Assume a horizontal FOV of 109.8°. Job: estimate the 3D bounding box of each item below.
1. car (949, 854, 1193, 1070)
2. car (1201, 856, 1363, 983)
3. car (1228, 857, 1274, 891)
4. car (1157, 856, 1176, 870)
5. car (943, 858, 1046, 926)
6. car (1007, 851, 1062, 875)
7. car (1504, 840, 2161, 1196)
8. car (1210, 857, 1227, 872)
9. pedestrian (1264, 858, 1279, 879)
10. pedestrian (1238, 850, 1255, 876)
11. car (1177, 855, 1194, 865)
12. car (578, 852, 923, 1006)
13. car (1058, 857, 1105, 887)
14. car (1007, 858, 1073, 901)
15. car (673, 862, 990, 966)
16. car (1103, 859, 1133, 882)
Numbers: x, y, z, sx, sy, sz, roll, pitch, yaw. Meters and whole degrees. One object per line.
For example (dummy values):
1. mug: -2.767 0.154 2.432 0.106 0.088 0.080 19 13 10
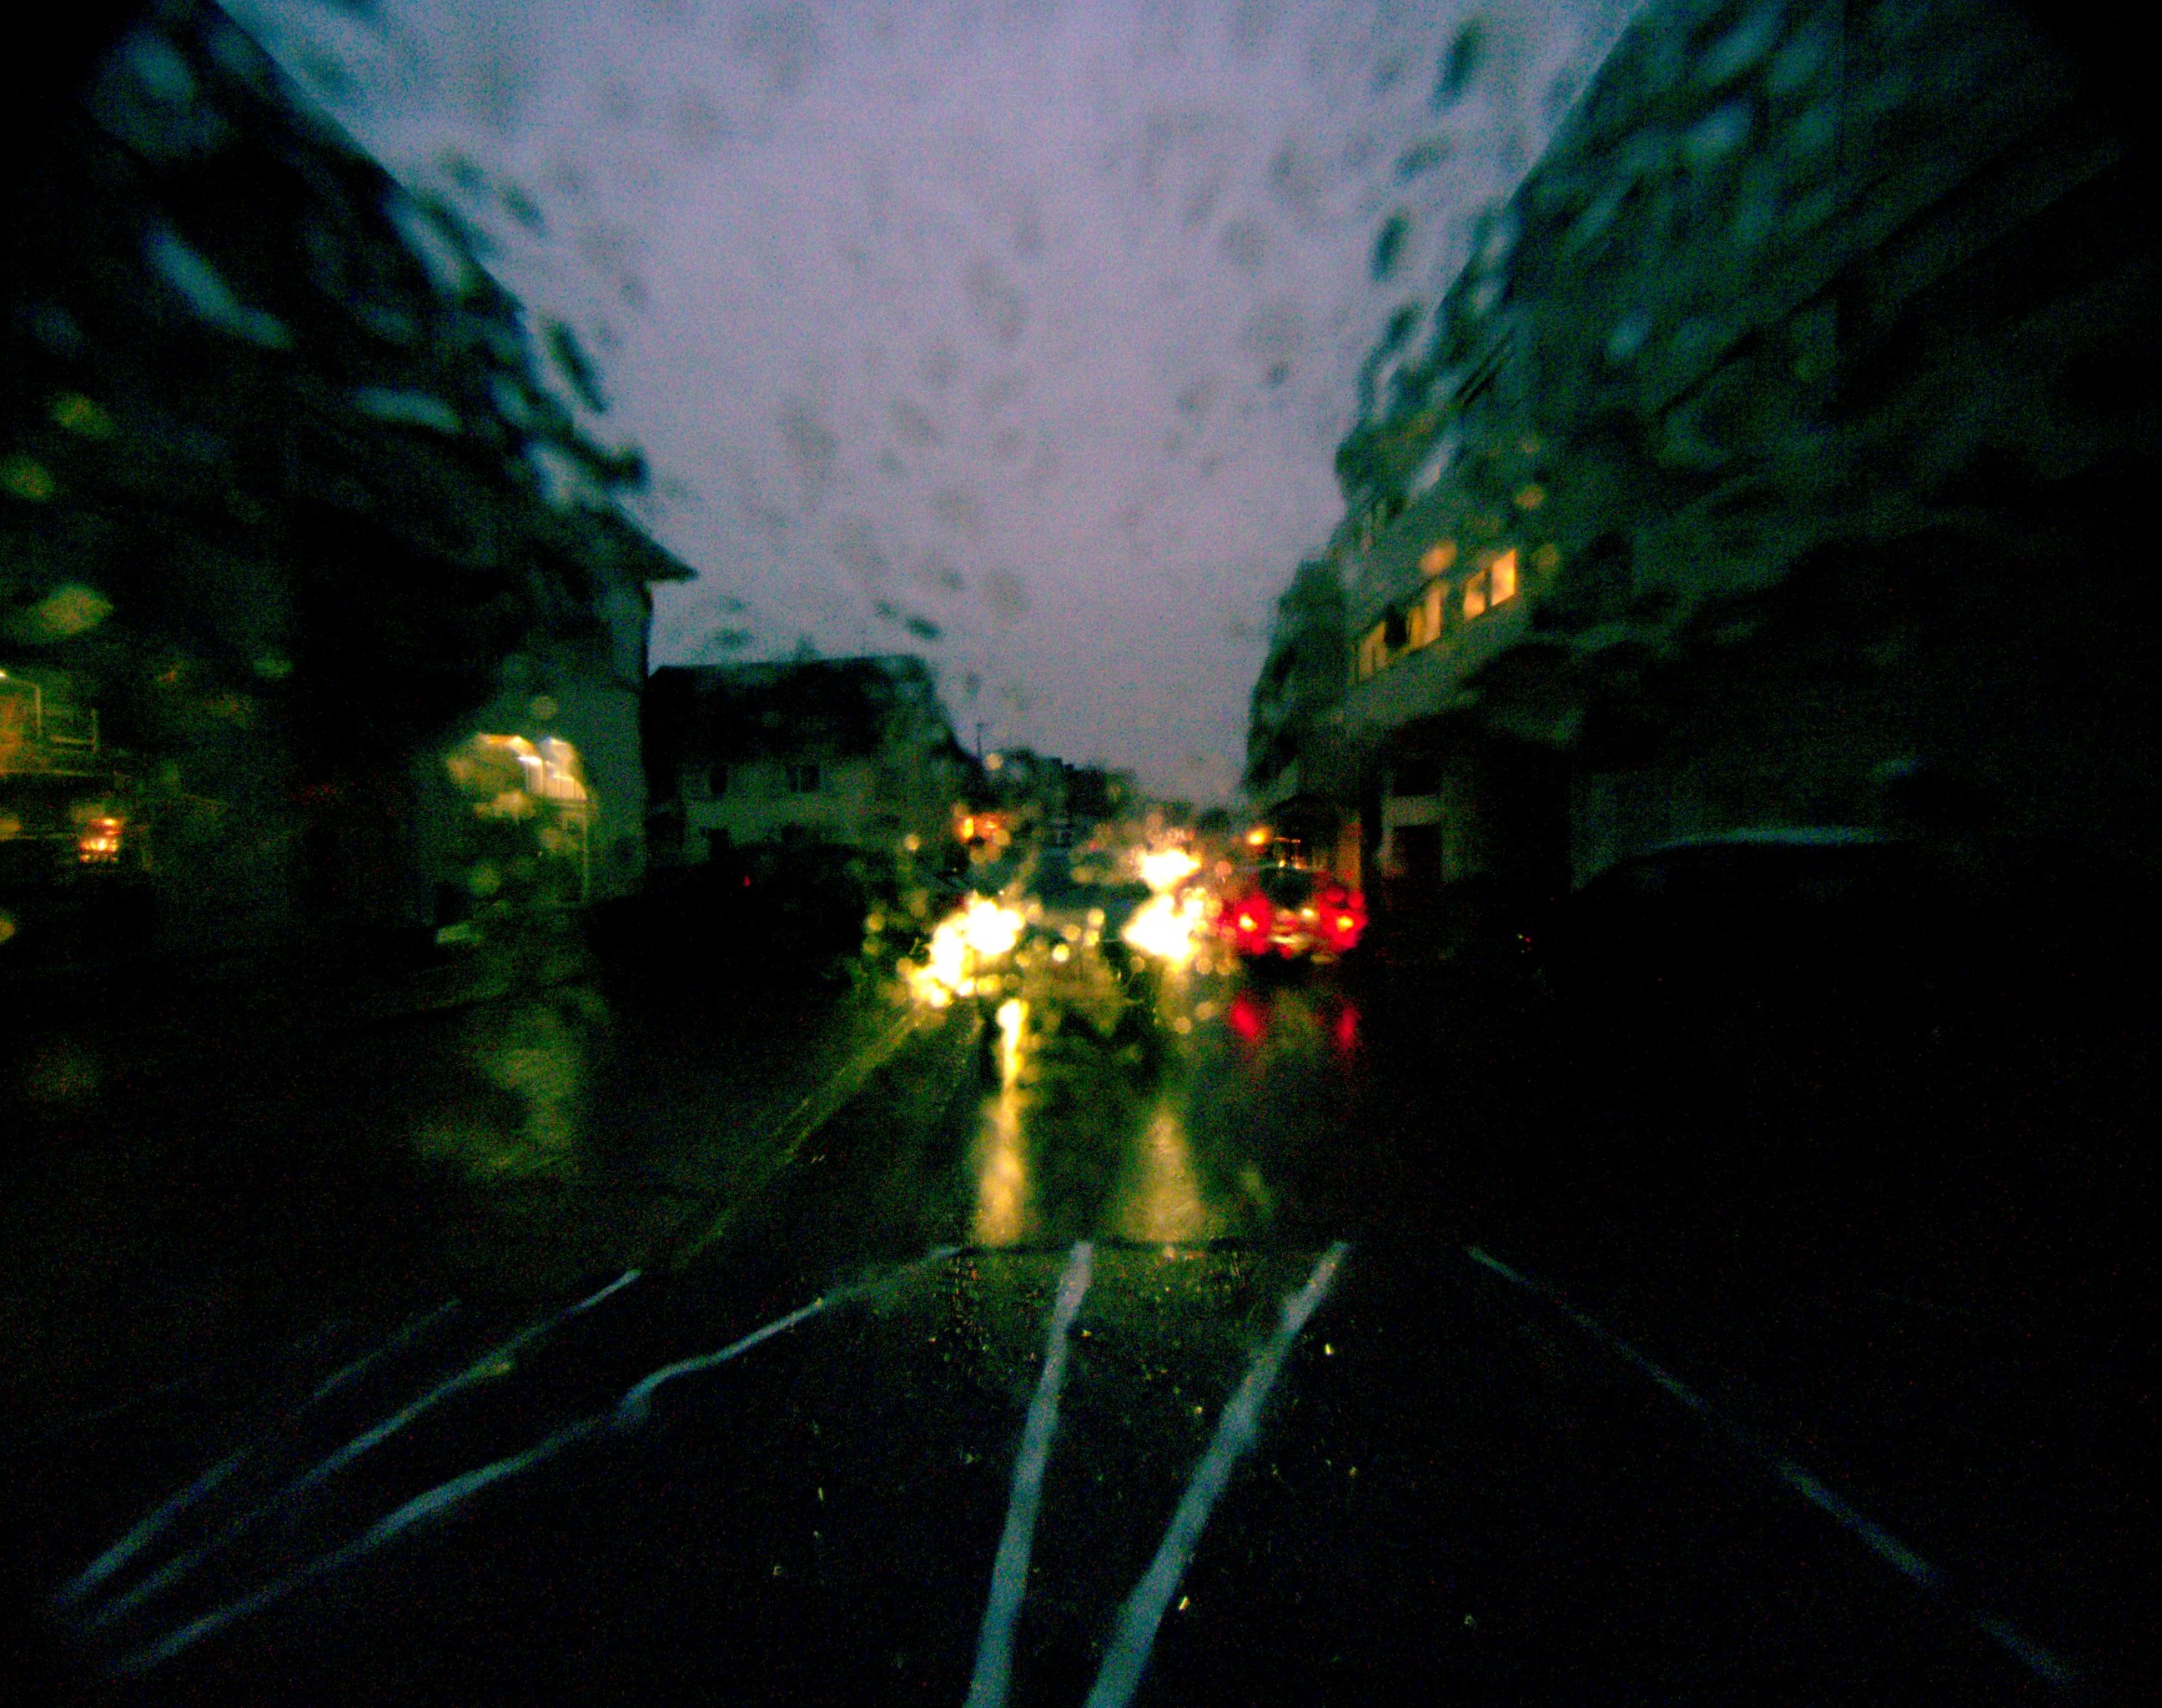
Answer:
1. car: -0.086 0.861 8.052 1.879 1.622 3.999 -2 0 0
2. car: 2.749 0.821 11.083 1.641 1.526 3.407 -1 0 4
3. car: 7.924 0.889 35.697 1.678 1.438 4.430 0 0 7
4. car: 10.409 1.077 92.162 1.797 1.501 4.004 1 0 13
5. car: -2.120 0.888 19.902 1.886 1.538 4.672 1 0 3
6. car: -3.049 0.576 50.481 3.295 1.433 1.687 3 1 8
7. car: 5.004 0.772 5.463 1.799 1.633 3.812 -2 0 1
8. car: 15.491 1.153 85.783 1.724 1.604 3.819 -2 -1 10
9. pedestrian: 12.063 0.924 48.091 0.757 1.302 0.829 -1 0 7
10. pedestrian: 12.460 0.690 57.132 1.200 1.927 0.978 0 0 16
11. car: 15.421 0.890 112.308 1.796 1.501 4.005 1 0 17
12. car: -3.883 0.865 9.433 3.514 1.671 1.715 1 0 -4
13. car: 0.093 0.908 40.097 1.826 1.415 4.610 2 1 8
14. car: -1.472 0.904 29.148 1.798 1.452 4.532 1 0 6
15. car: -3.833 0.909 12.292 4.478 1.464 1.898 1 0 0
16. car: 2.732 1.175 55.149 1.797 1.501 4.003 1 0 8
